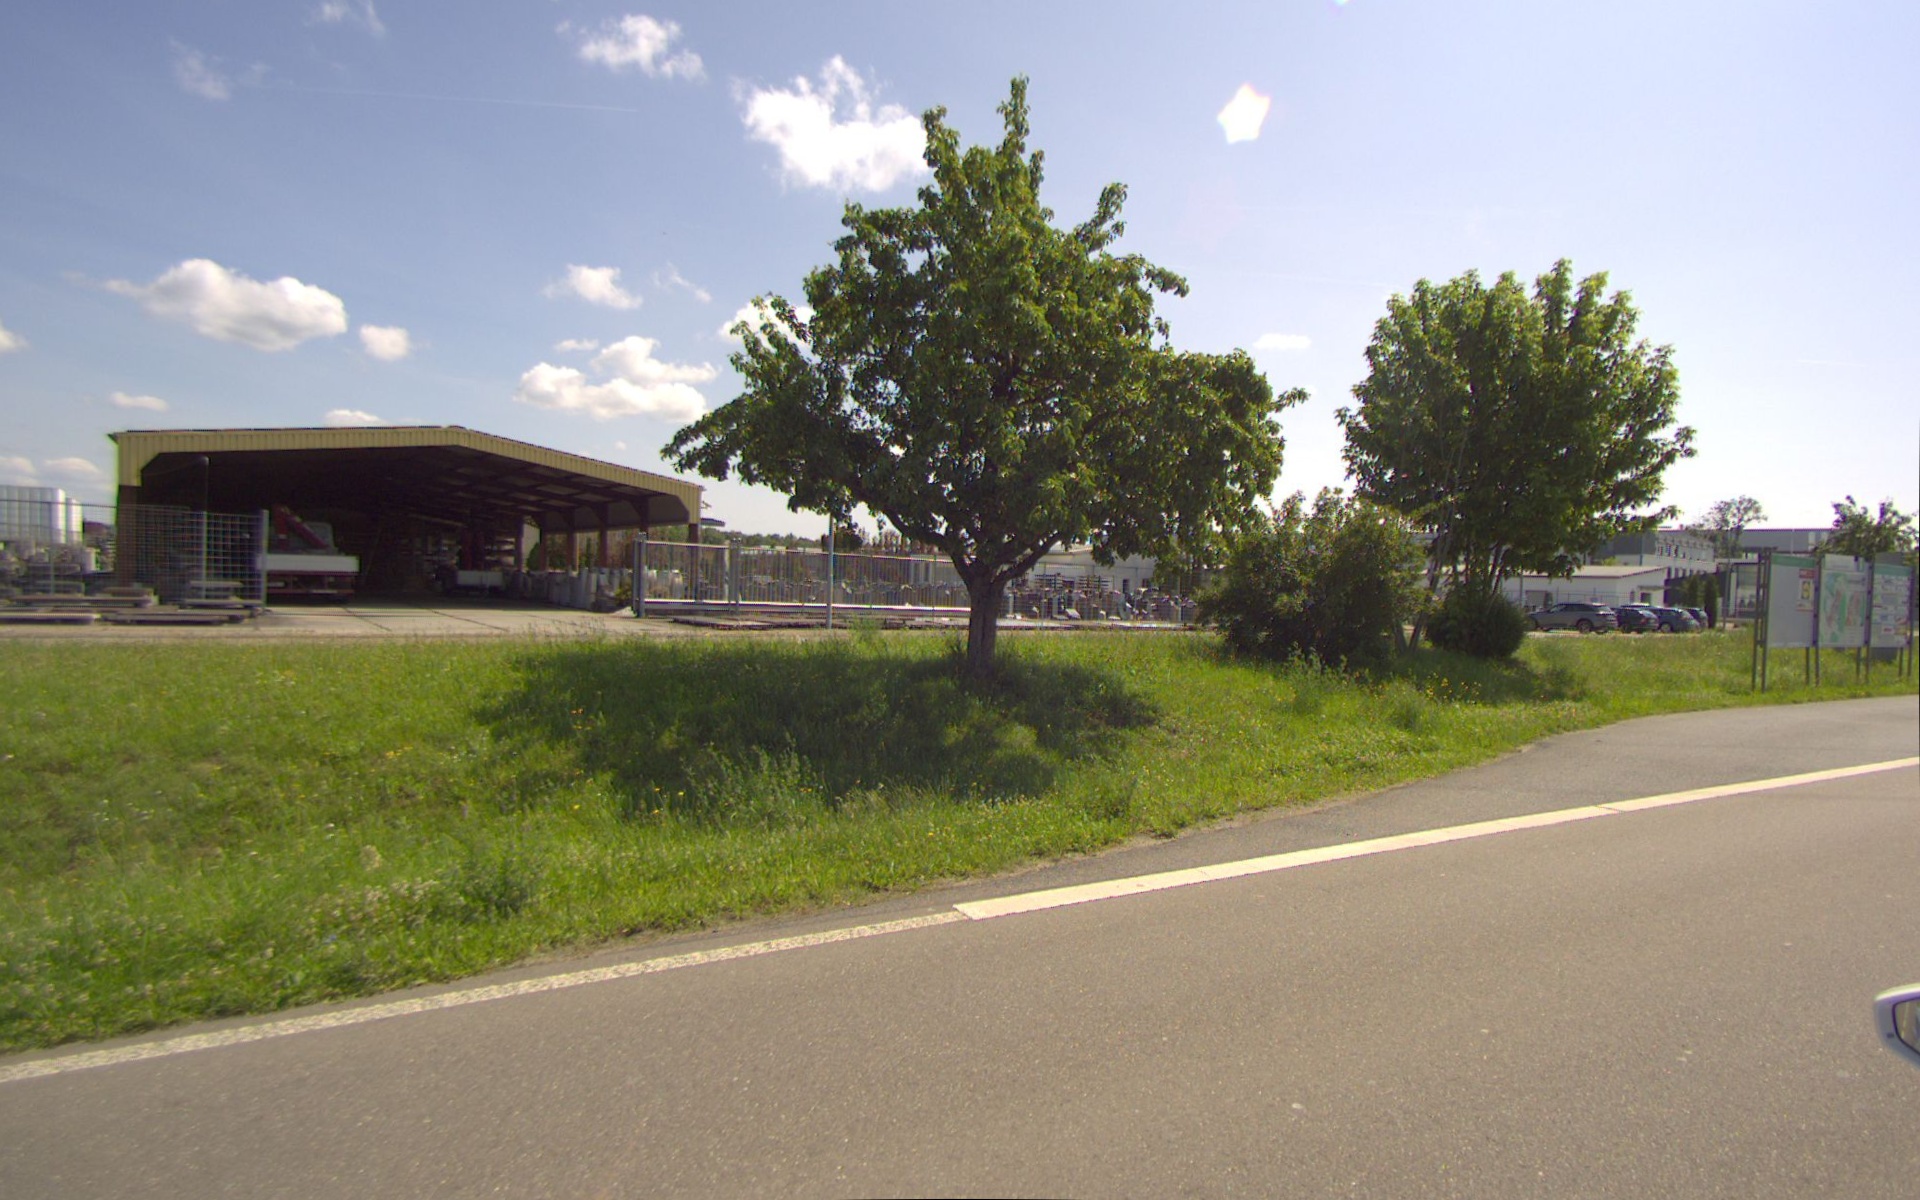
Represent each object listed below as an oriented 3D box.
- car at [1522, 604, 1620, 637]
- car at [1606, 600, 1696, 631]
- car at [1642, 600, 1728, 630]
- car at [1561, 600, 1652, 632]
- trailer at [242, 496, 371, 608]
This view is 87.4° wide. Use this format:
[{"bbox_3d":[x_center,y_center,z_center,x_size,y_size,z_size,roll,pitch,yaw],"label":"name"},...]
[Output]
[{"bbox_3d":[32.675,1.073,53.795,1.981,1.548,3.958,1,2,-36],"label":"car"},{"bbox_3d":[41.437,0.909,60.296,1.981,1.662,3.958,1,2,-36],"label":"car"},{"bbox_3d":[45.952,0.930,63.717,1.981,1.662,3.958,1,2,-36],"label":"car"},{"bbox_3d":[36.256,0.869,56.411,1.650,1.576,3.958,1,2,-36],"label":"car"},{"bbox_3d":[-19.033,-1.346,29.132,2.716,2.863,5.519,1,2,-37],"label":"trailer"}]
